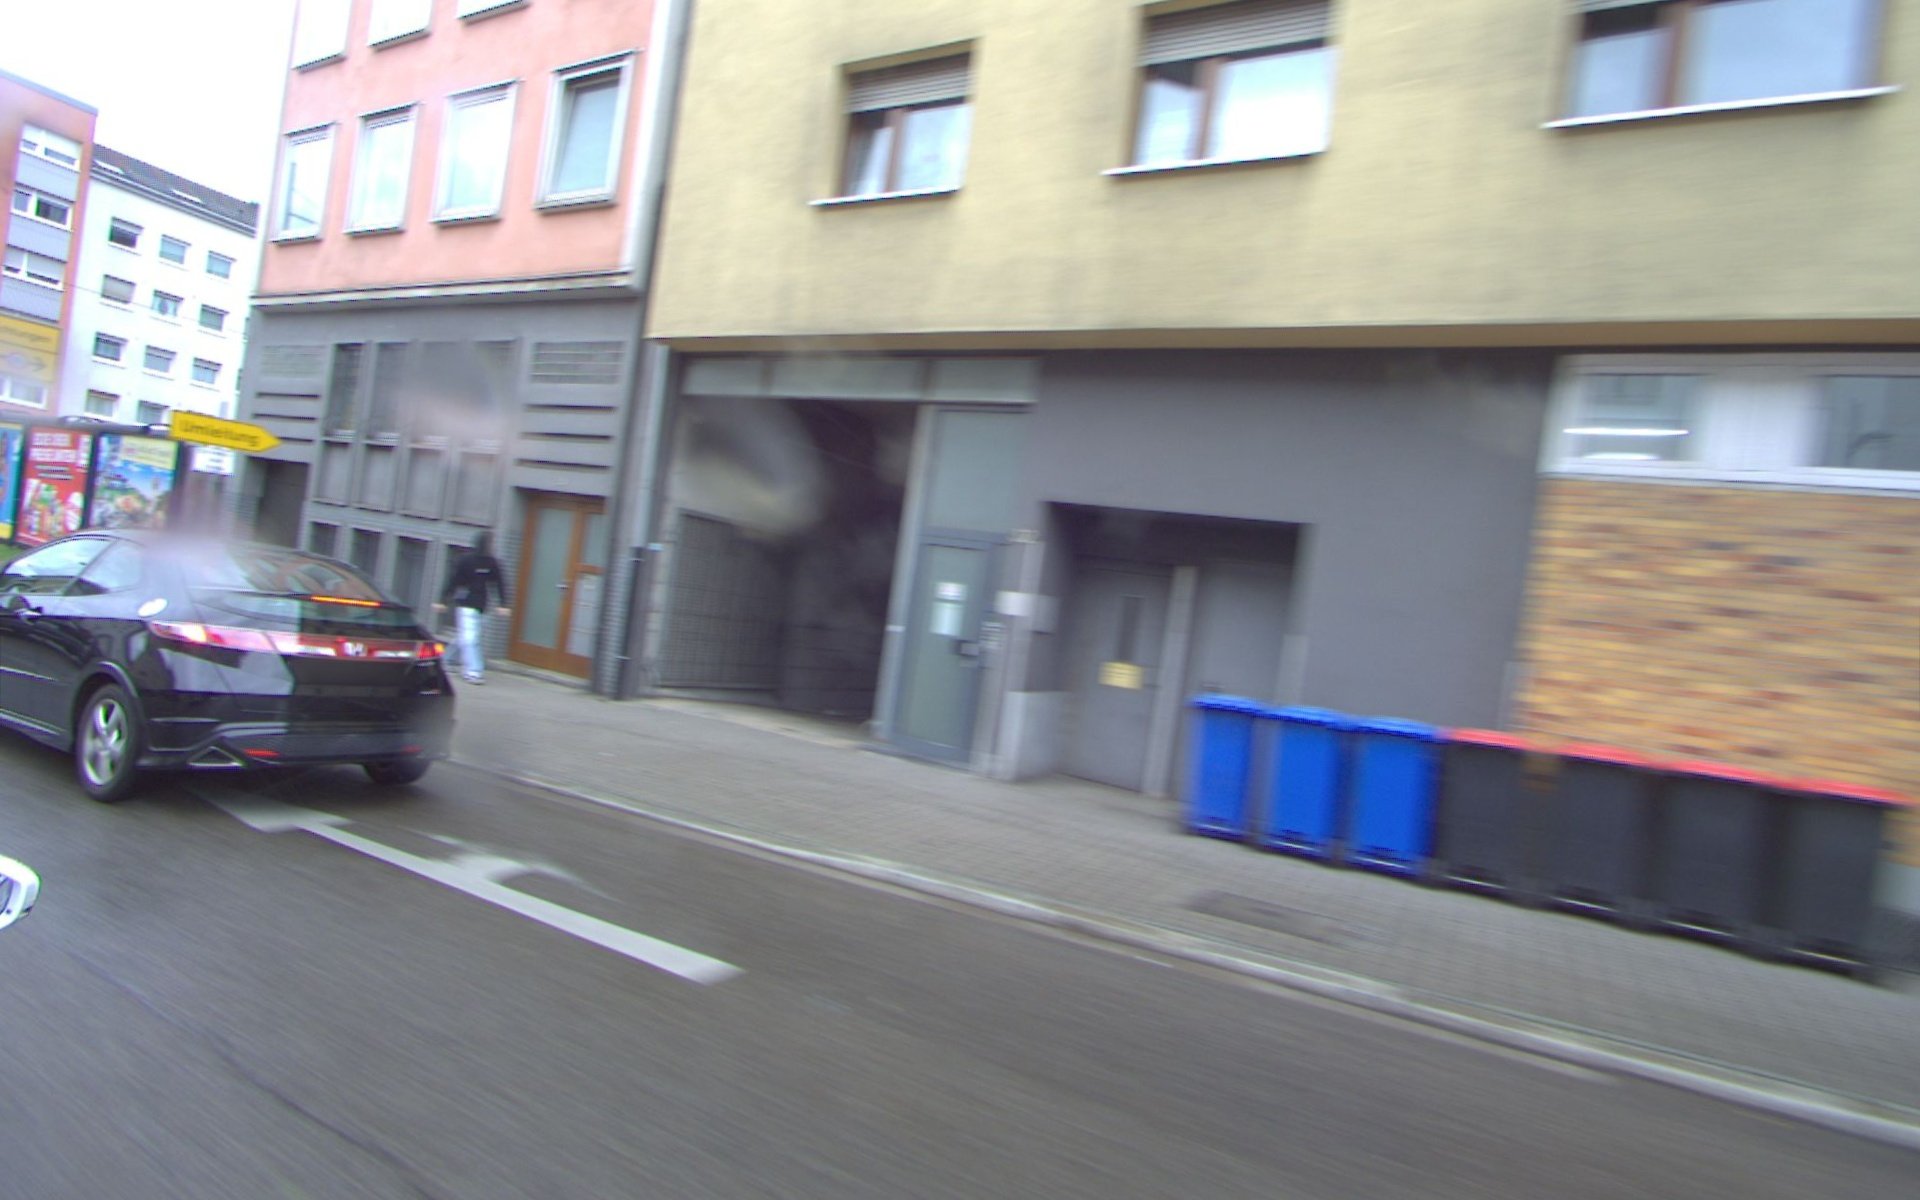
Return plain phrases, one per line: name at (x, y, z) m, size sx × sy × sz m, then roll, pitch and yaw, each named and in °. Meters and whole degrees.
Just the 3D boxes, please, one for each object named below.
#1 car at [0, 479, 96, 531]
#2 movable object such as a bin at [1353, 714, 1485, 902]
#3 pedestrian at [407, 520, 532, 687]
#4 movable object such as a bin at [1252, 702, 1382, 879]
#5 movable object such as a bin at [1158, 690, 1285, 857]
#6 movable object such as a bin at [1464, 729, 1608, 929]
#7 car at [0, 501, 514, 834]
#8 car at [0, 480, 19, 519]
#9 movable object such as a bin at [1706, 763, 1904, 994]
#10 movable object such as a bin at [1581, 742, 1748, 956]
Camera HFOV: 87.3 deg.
car at (-35.337, -3.685, 37.214) m, size 1.886 × 1.504 × 4.663 m, roll 8°, pitch 0°, yaw 26°
movable object such as a bin at (3.156, 1.383, 6.891) m, size 0.657 × 1.090 × 0.682 m, roll 7°, pitch 0°, yaw 29°
pedestrian at (-5.847, 0.041, 11.994) m, size 1.077 × 1.809 × 0.674 m, roll 8°, pitch 0°, yaw 32°
movable object such as a bin at (2.570, 1.329, 7.219) m, size 0.657 × 1.090 × 0.682 m, roll 7°, pitch 0°, yaw 29°
movable object such as a bin at (1.978, 1.266, 7.568) m, size 0.657 × 1.090 × 0.682 m, roll 7°, pitch 0°, yaw 29°
movable object such as a bin at (3.736, 1.446, 6.561) m, size 0.657 × 1.090 × 0.682 m, roll 7°, pitch 0°, yaw 29°
car at (-5.097, 0.284, 6.607) m, size 3.987 × 1.514 × 1.788 m, roll 6°, pitch -2°, yaw 29°
car at (-41.053, -4.386, 40.685) m, size 1.673 × 1.504 × 3.955 m, roll 8°, pitch 0°, yaw 27°
movable object such as a bin at (4.905, 1.579, 5.895) m, size 0.657 × 1.090 × 0.682 m, roll 7°, pitch 0°, yaw 29°
movable object such as a bin at (4.320, 1.493, 6.223) m, size 0.657 × 1.090 × 0.682 m, roll 7°, pitch 0°, yaw 29°
